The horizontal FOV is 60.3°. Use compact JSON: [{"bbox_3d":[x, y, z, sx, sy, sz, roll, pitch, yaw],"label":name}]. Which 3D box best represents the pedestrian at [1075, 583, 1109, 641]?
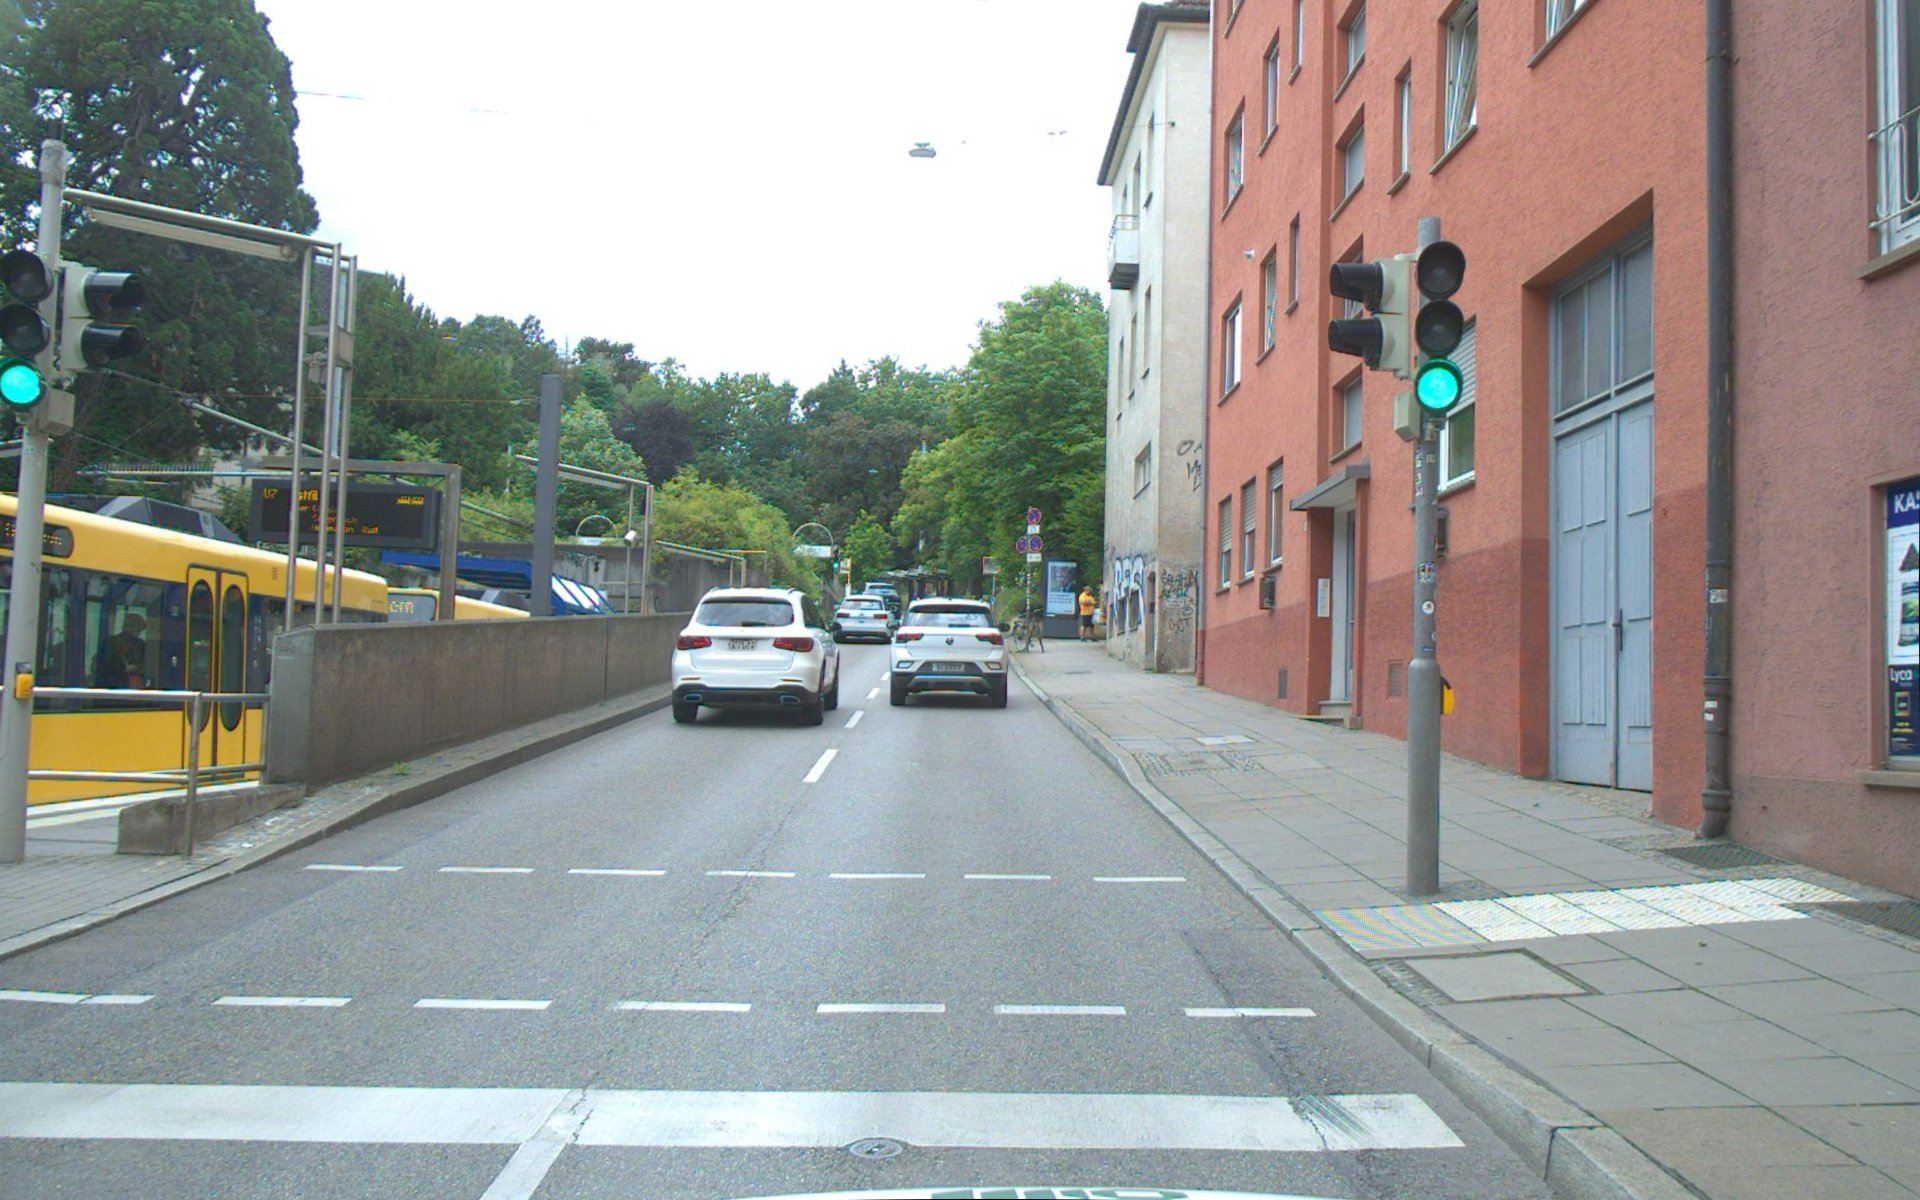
[{"bbox_3d":[4.022,0.356,50.510,0.819,1.742,0.818,0,0,-14],"label":"pedestrian"}]

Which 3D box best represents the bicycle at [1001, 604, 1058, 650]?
[{"bbox_3d":[1.810,0.697,43.237,0.630,1.163,2.049,0,0,-25],"label":"bicycle"}]

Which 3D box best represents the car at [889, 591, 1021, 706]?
[{"bbox_3d":[-0.045,0.694,25.394,1.826,1.583,3.895,1,0,1],"label":"car"}]

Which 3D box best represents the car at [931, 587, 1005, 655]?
[{"bbox_3d":[0.201,0.540,43.505,1.823,1.660,3.959,1,0,0],"label":"car"}]

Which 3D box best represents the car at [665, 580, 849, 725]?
[{"bbox_3d":[-2.527,0.619,21.525,1.838,1.681,4.341,0,0,0],"label":"car"}]

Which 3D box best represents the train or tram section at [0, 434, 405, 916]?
[{"bbox_3d":[-8.524,0.653,14.935,2.889,3.545,12.215,1,-3,0],"label":"train or tram section"}]

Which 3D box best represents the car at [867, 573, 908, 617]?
[{"bbox_3d":[-3.371,-0.223,77.363,1.714,1.914,3.999,3,0,-1],"label":"car"}]

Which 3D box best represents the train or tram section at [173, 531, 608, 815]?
[{"bbox_3d":[-8.616,1.137,27.545,2.889,3.570,12.981,1,-2,-1],"label":"train or tram section"}]

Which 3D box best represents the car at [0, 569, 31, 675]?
[{"bbox_3d":[-19.453,0.348,30.863,1.954,2.049,3.997,3,-1,-3],"label":"car"}]

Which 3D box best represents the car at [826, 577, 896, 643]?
[{"bbox_3d":[-3.092,0.310,52.236,1.953,1.914,3.999,3,0,-1],"label":"car"}]
